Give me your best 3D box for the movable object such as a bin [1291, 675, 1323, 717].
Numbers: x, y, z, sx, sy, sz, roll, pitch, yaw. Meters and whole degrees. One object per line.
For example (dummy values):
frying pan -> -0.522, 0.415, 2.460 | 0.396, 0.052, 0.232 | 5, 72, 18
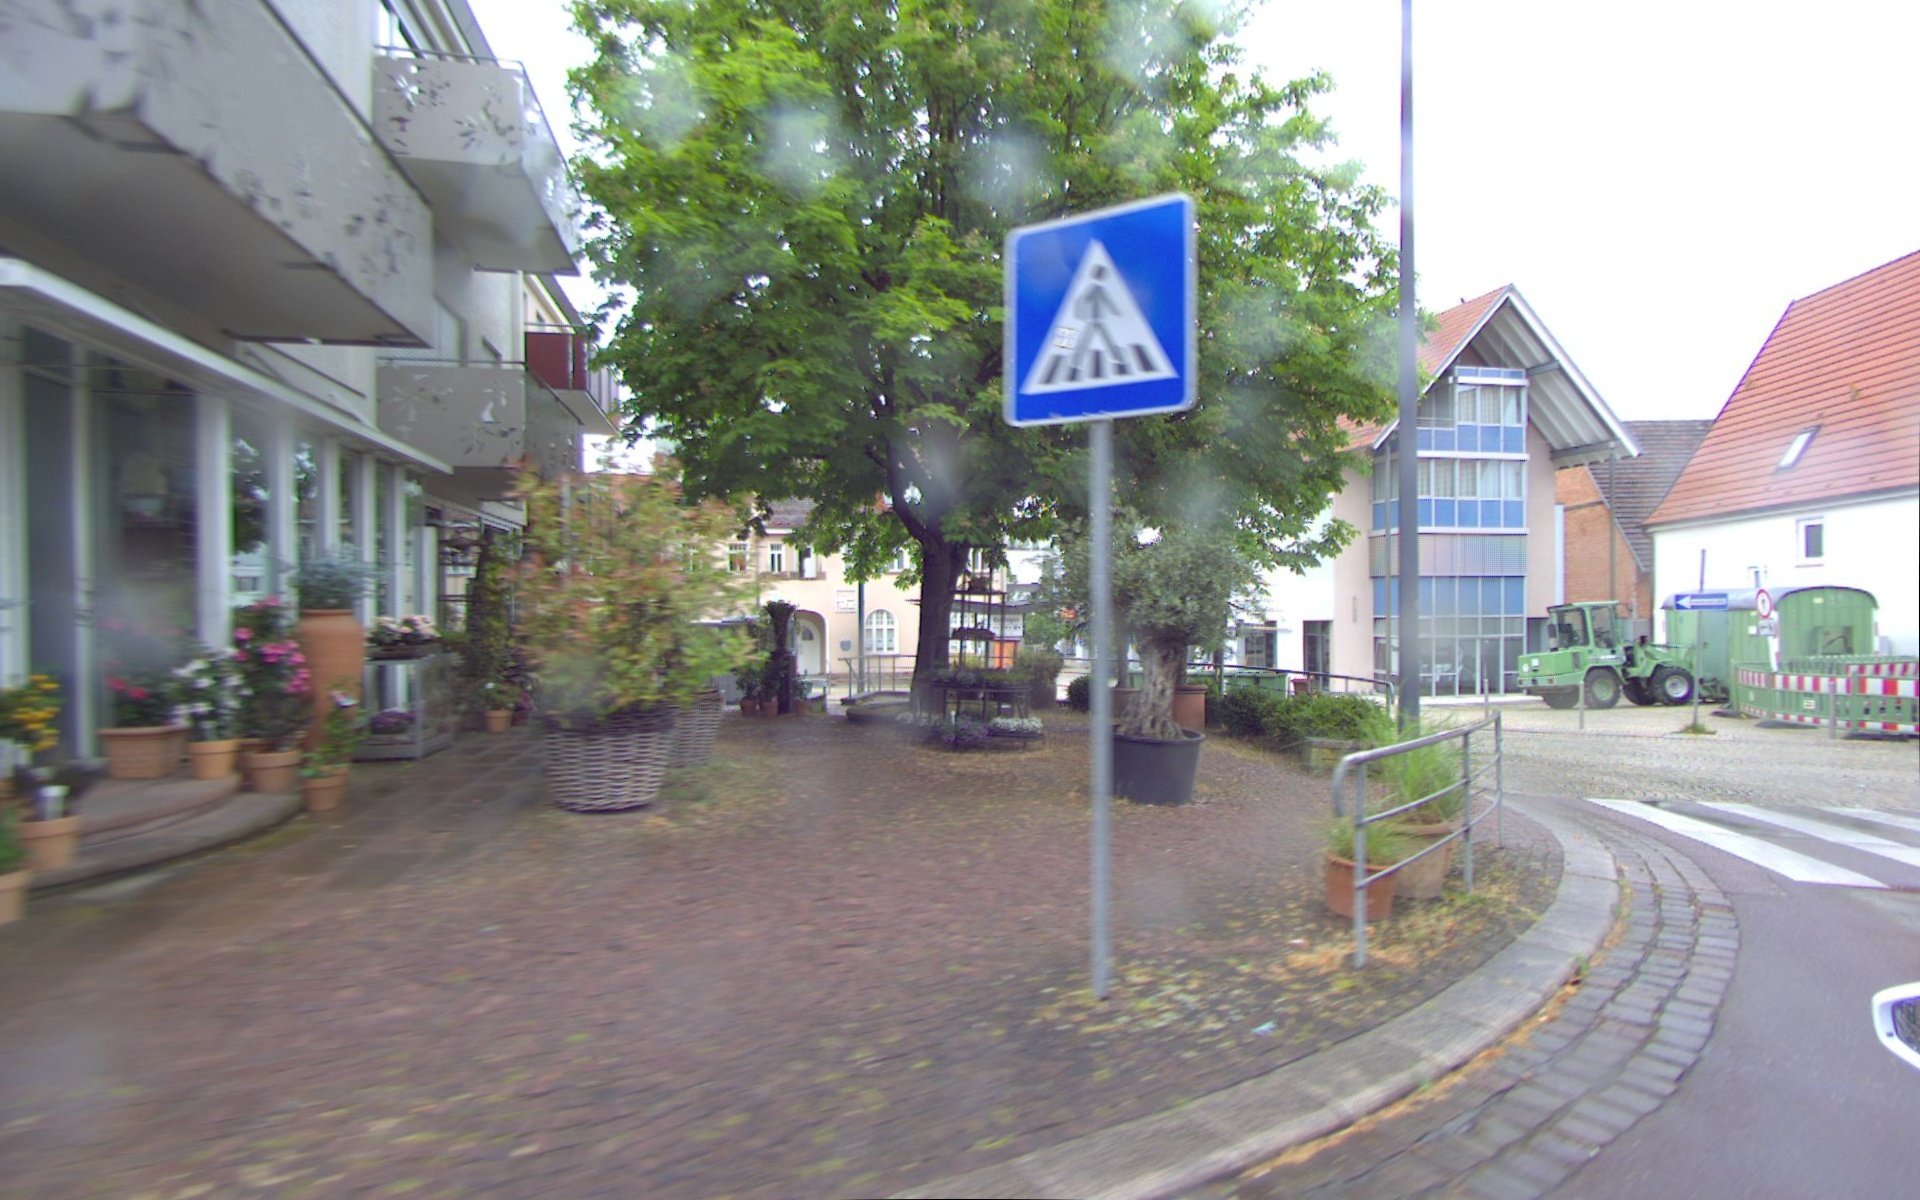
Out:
movable object such as a bin -> 8.437, 2.329, 24.441 | 0.557, 1.004, 0.493 | 1, -4, -40

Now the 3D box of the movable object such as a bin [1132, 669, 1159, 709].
movable object such as a bin -> 5.447, 2.592, 29.462 | 0.532, 1.140, 0.535 | 1, -3, -31

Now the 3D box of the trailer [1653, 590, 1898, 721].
trailer -> 19.792, 1.258, 24.738 | 2.442, 2.874, 4.634 | 1, 0, 4

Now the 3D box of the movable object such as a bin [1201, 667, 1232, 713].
movable object such as a bin -> 6.812, 2.386, 26.723 | 0.555, 1.174, 0.546 | 1, -3, -31

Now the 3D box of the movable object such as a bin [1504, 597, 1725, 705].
movable object such as a bin -> 16.345, 1.288, 25.266 | 4.206, 2.587, 1.913 | -1, -3, 0

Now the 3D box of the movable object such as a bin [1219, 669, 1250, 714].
movable object such as a bin -> 7.156, 2.386, 26.187 | 0.555, 1.140, 0.537 | 1, -3, -31

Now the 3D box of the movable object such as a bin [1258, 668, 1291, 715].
movable object such as a bin -> 7.865, 2.287, 25.111 | 0.555, 1.140, 0.546 | 1, -3, -31

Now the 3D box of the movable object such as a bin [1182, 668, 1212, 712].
movable object such as a bin -> 6.447, 2.440, 27.324 | 0.555, 1.140, 0.546 | 1, -3, -31

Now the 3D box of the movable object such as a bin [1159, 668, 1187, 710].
movable object such as a bin -> 6.041, 2.512, 28.484 | 0.555, 1.140, 0.546 | 1, -3, -31

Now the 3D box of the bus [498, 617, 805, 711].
bus -> -10.766, 2.179, 35.018 | 10.345, 3.029, 2.790 | -1, -1, 15

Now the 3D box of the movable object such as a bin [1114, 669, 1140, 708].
movable object such as a bin -> 4.991, 2.639, 29.951 | 0.534, 1.140, 0.533 | 2, -4, -41

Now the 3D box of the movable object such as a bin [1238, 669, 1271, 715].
movable object such as a bin -> 7.494, 2.336, 25.545 | 0.555, 1.140, 0.546 | 1, -3, -31
